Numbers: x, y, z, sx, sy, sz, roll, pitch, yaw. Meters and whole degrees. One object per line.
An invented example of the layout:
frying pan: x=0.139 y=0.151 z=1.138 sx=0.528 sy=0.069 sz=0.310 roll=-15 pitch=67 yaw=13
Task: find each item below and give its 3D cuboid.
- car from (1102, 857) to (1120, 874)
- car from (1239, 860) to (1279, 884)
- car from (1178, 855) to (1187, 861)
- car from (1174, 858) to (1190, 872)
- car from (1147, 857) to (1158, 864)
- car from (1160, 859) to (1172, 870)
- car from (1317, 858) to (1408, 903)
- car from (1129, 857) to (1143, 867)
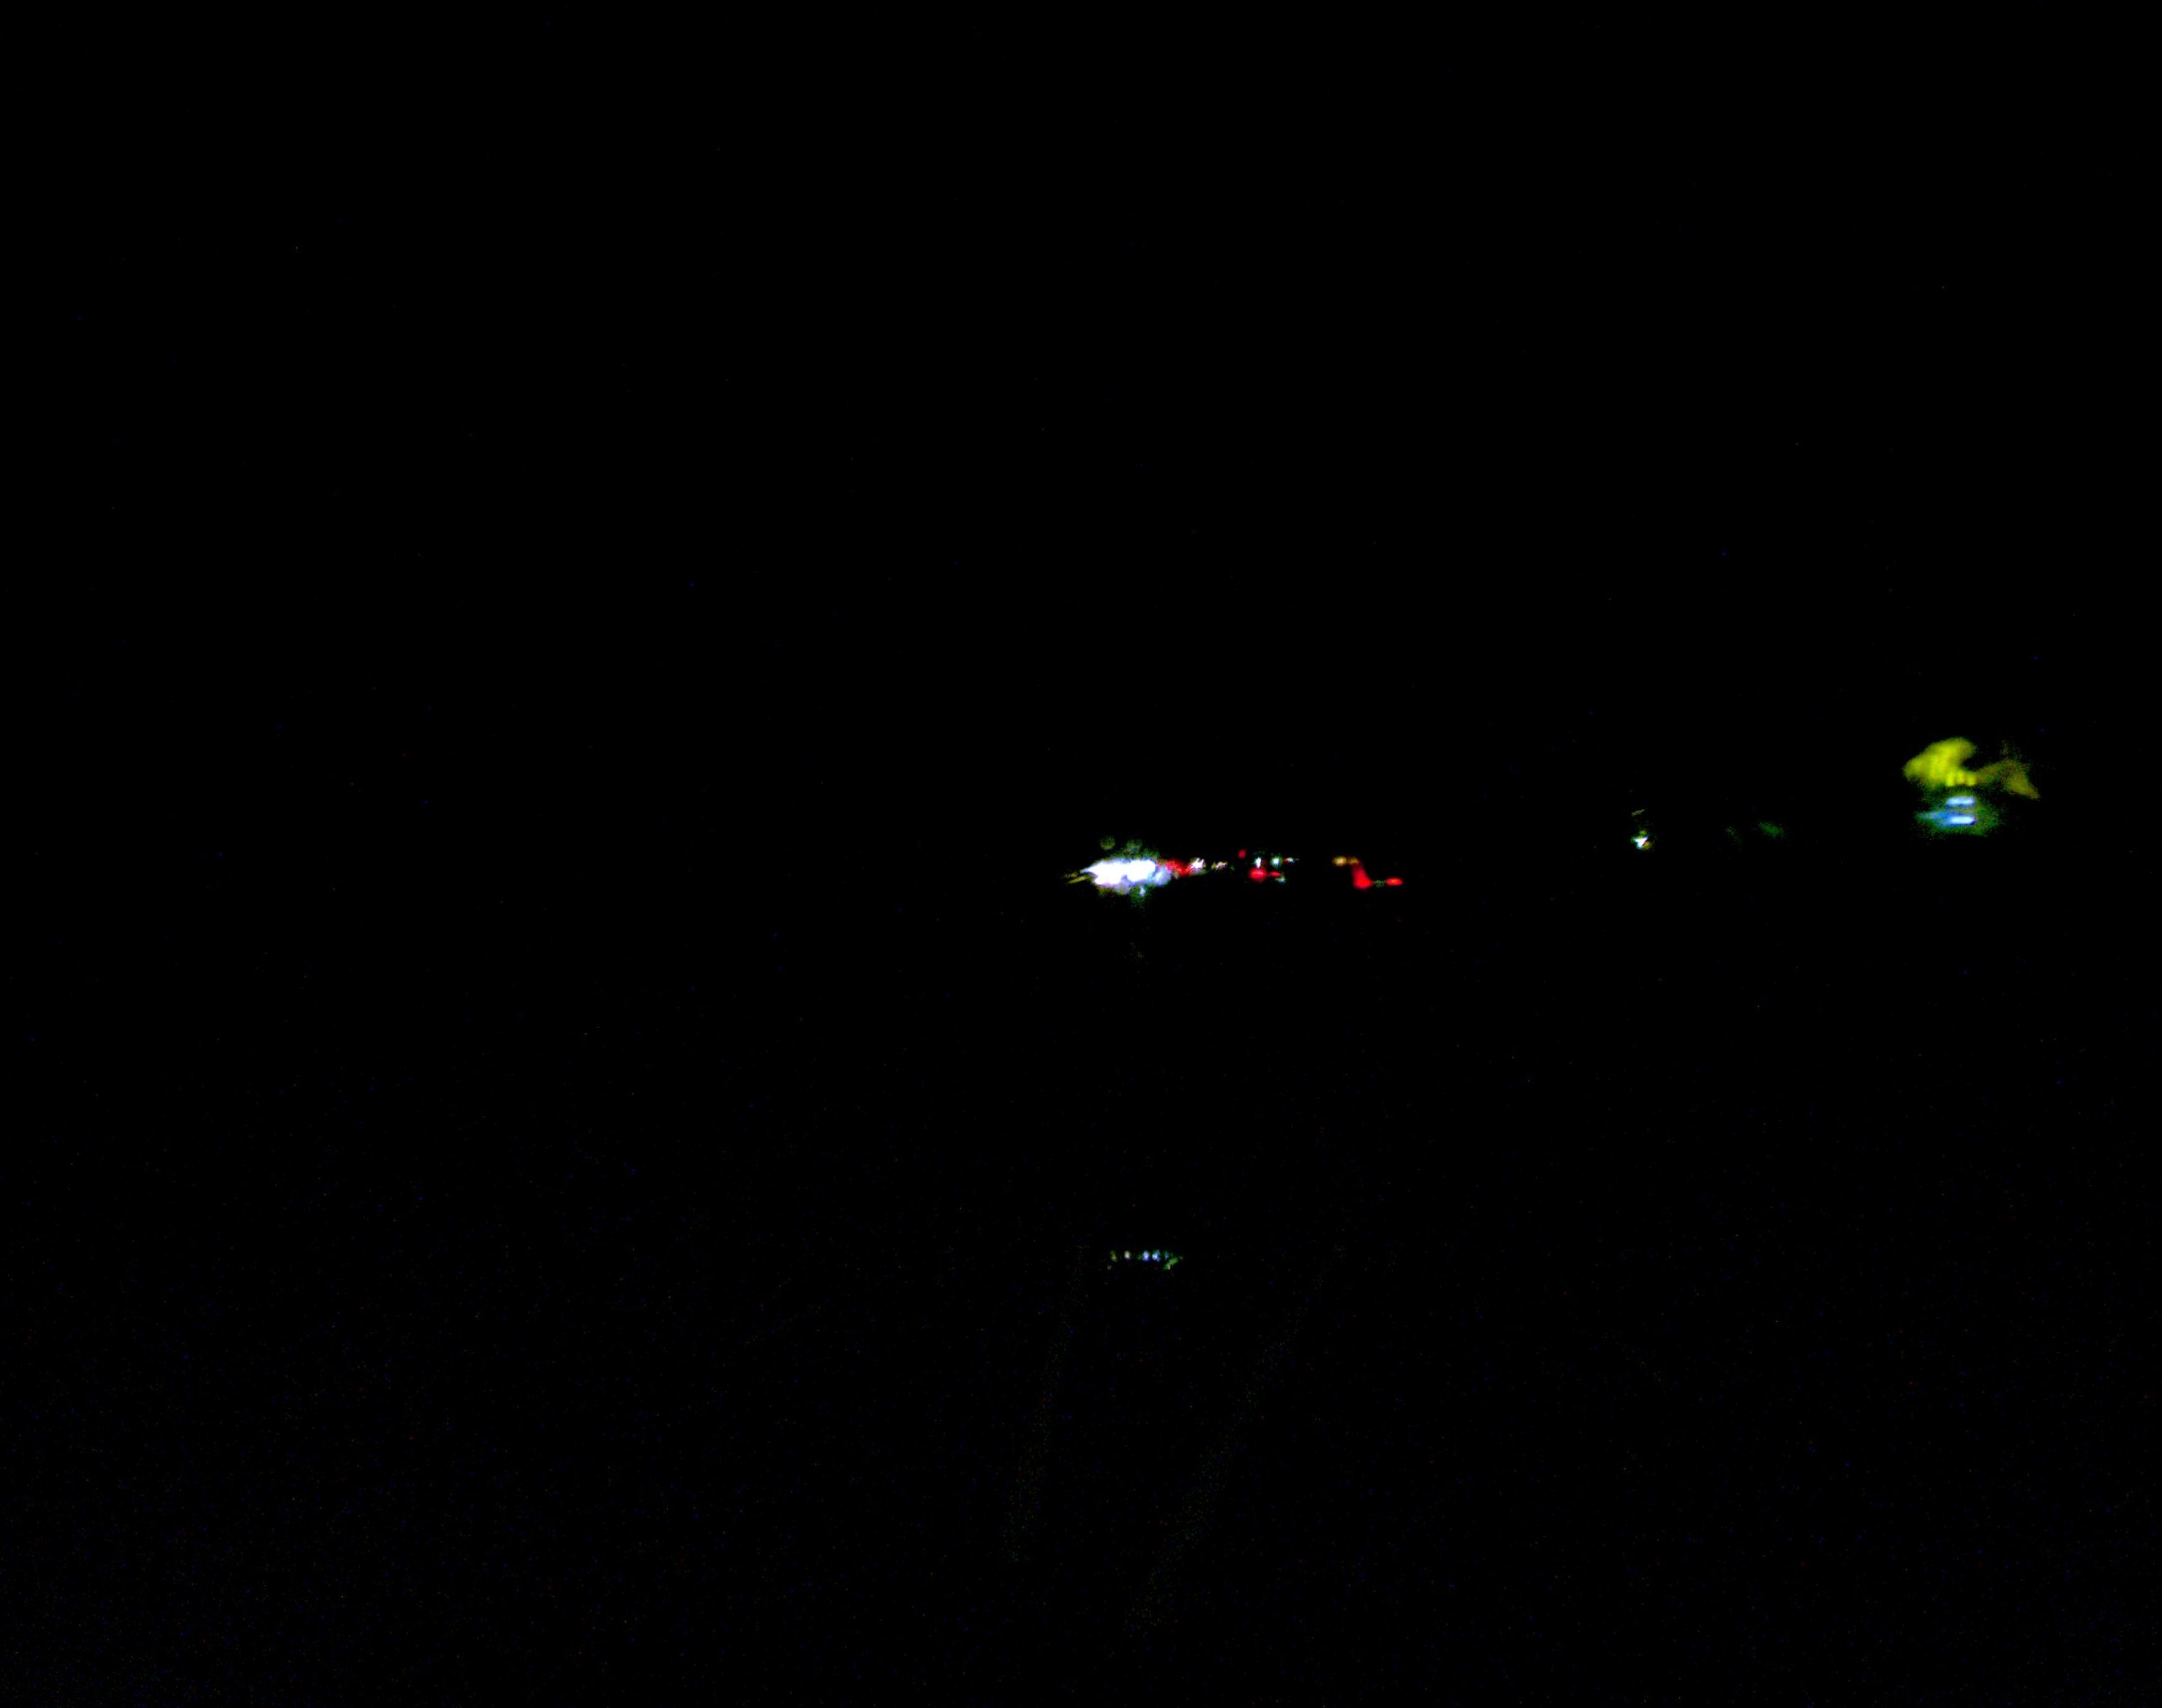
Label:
car: x=3.378 y=1.259 z=84.572 sx=1.877 sy=1.824 sz=4.206 roll=-2 pitch=0 yaw=3
car: x=12.191 y=1.230 z=52.351 sx=1.808 sy=1.416 sz=4.205 roll=-2 pitch=1 yaw=1
car: x=23.935 y=0.927 z=178.813 sx=1.806 sy=1.416 sz=4.208 roll=-2 pitch=1 yaw=10
car: x=11.591 y=1.236 z=87.066 sx=1.807 sy=1.416 sz=4.207 roll=-2 pitch=1 yaw=8
car: x=14.711 y=1.320 z=156.639 sx=1.807 sy=1.416 sz=4.208 roll=-2 pitch=1 yaw=9
car: x=12.982 y=1.612 z=116.175 sx=1.807 sy=1.416 sz=4.207 roll=-2 pitch=1 yaw=6
car: x=12.253 y=1.084 z=33.458 sx=2.094 sy=1.691 sz=4.576 roll=-2 pitch=1 yaw=-3
car: x=9.370 y=1.363 z=129.440 sx=1.913 sy=1.693 sz=4.942 roll=-2 pitch=0 yaw=8
